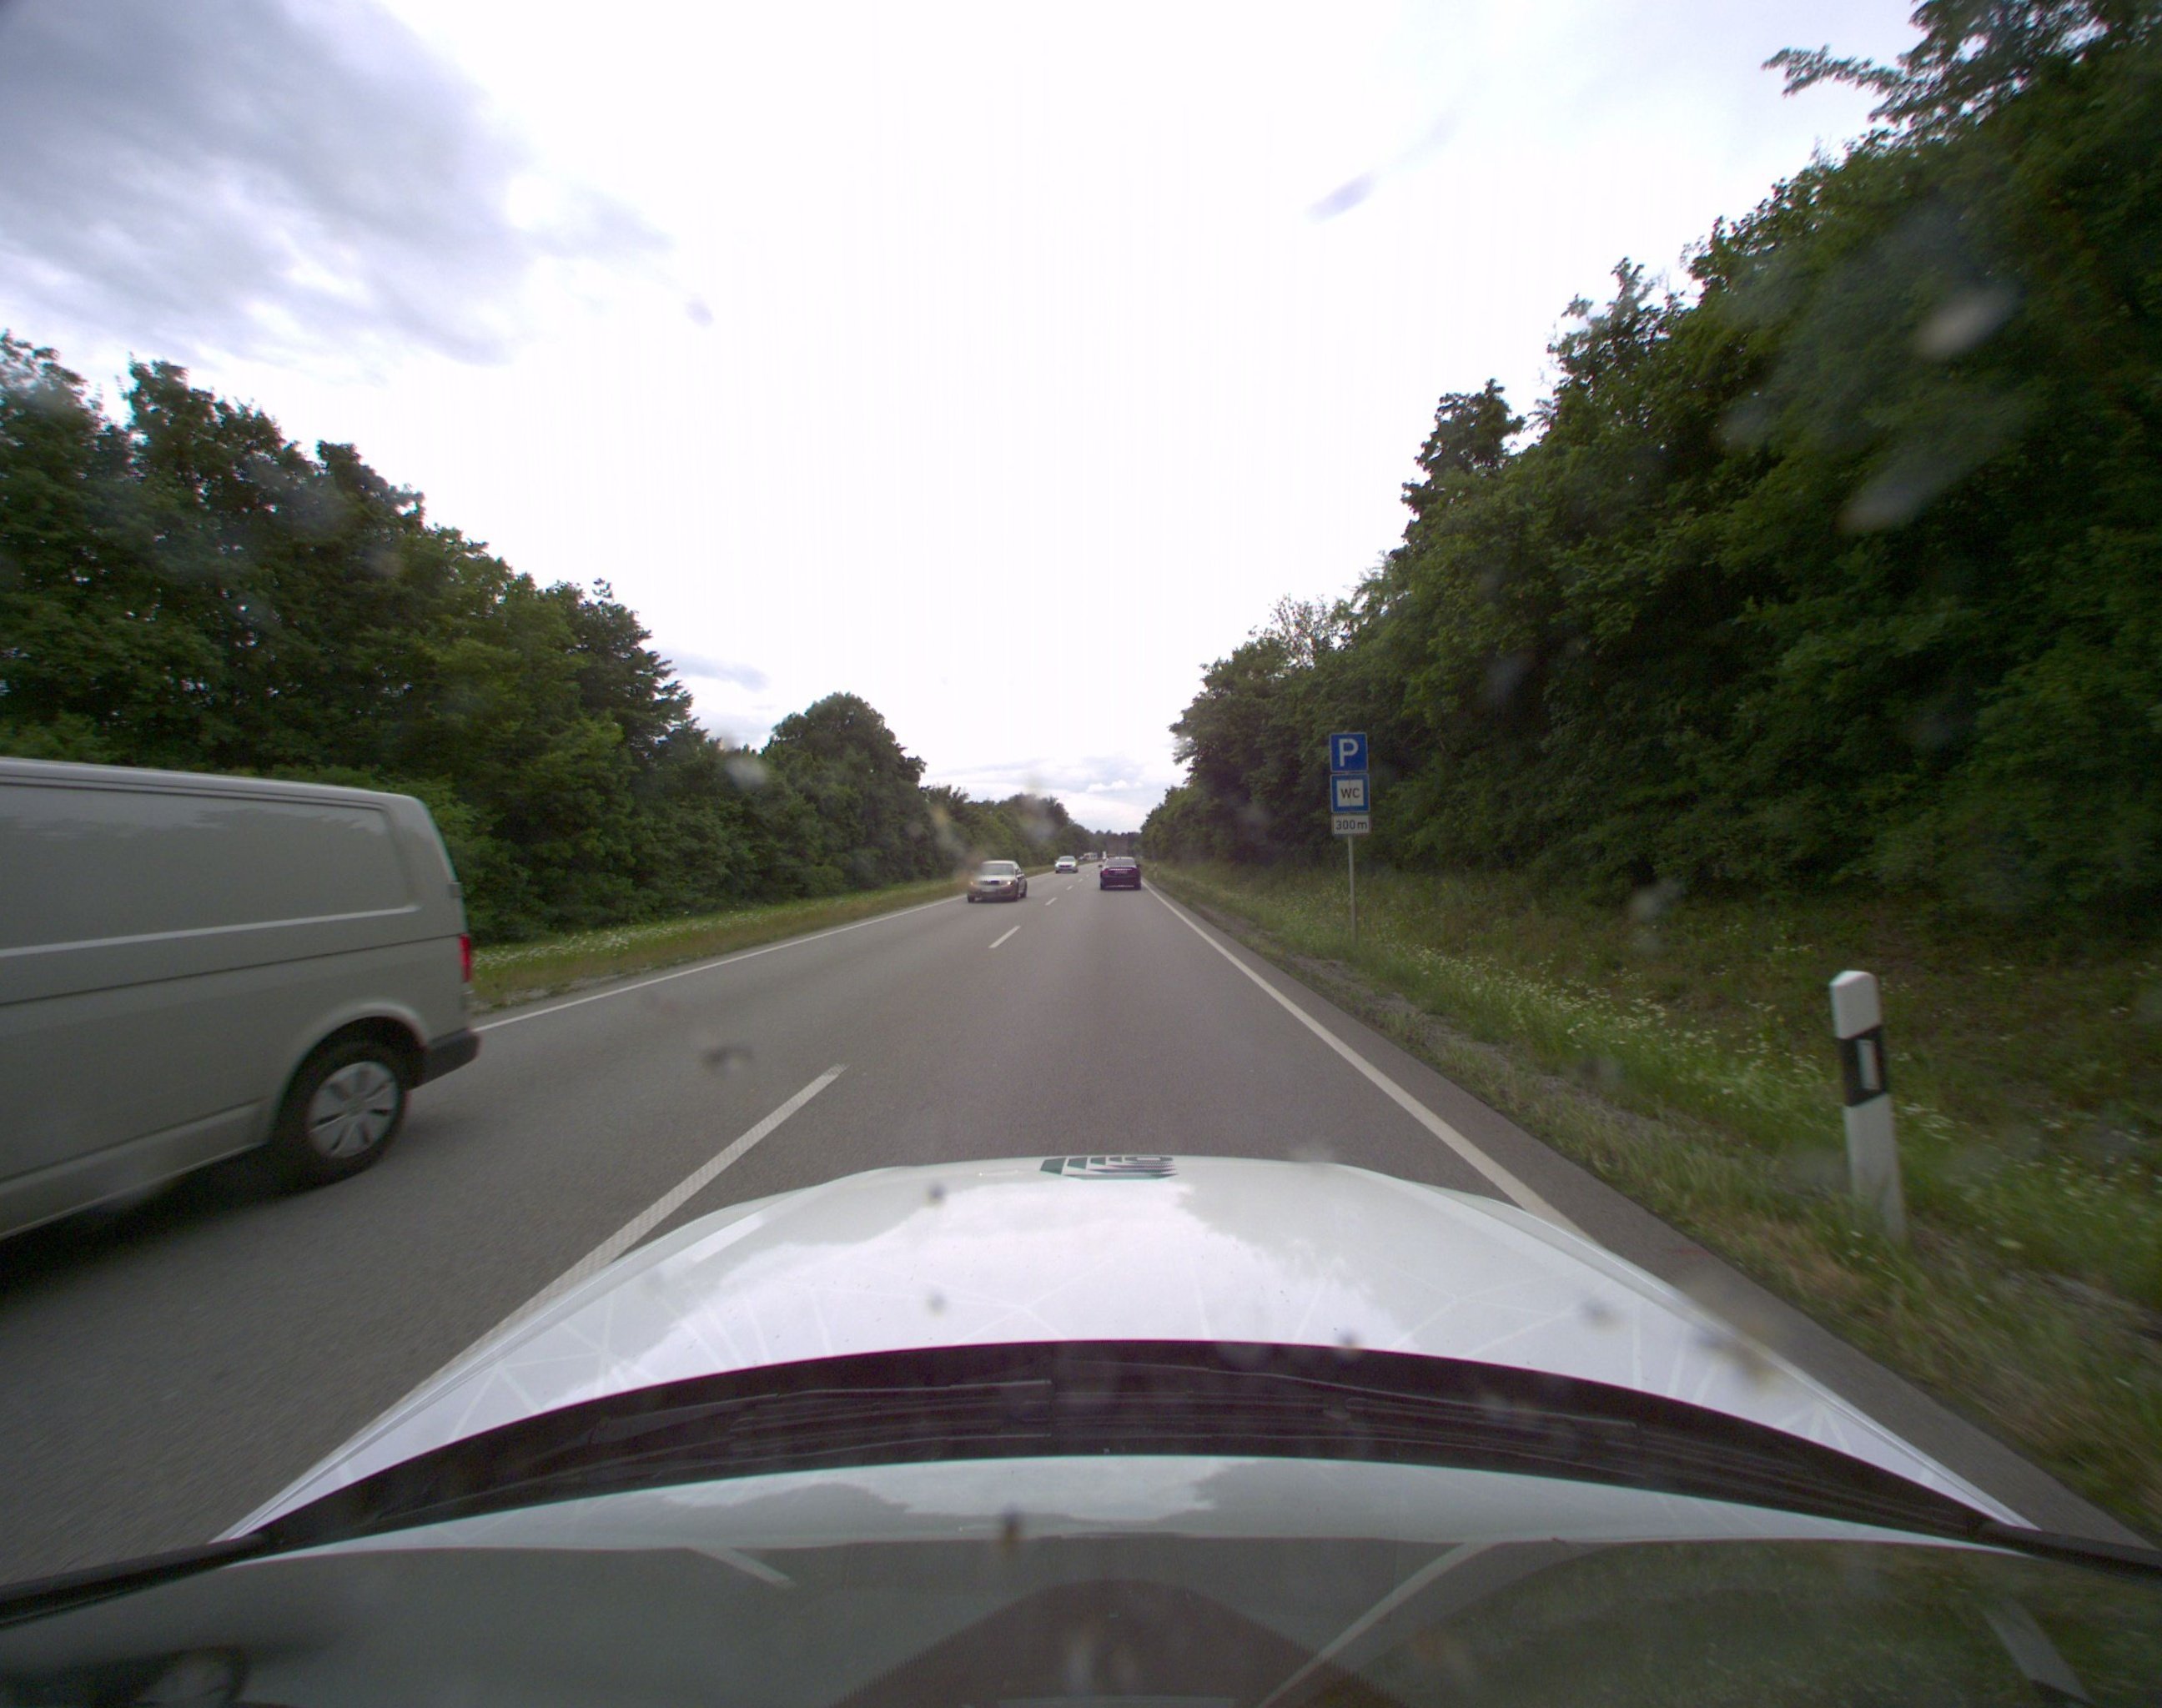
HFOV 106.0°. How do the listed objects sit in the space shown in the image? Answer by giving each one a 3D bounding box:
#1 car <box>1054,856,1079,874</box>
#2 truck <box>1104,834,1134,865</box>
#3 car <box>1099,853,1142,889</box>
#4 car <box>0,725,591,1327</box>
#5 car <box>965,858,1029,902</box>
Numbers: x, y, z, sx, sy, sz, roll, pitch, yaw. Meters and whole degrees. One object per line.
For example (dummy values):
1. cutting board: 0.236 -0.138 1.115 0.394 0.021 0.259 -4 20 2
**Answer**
1. car: -1.301 1.009 75.660 1.956 1.574 5.454 0 0 2
2. truck: 4.757 -0.466 100.592 3.266 3.611 11.413 -1 0 4
3. car: 1.774 0.771 37.481 1.785 1.552 4.000 0 0 0
4. car: -4.480 0.562 2.750 1.986 1.940 5.813 0 0 2
5. car: -2.945 0.887 29.510 1.719 1.434 4.505 0 0 2
